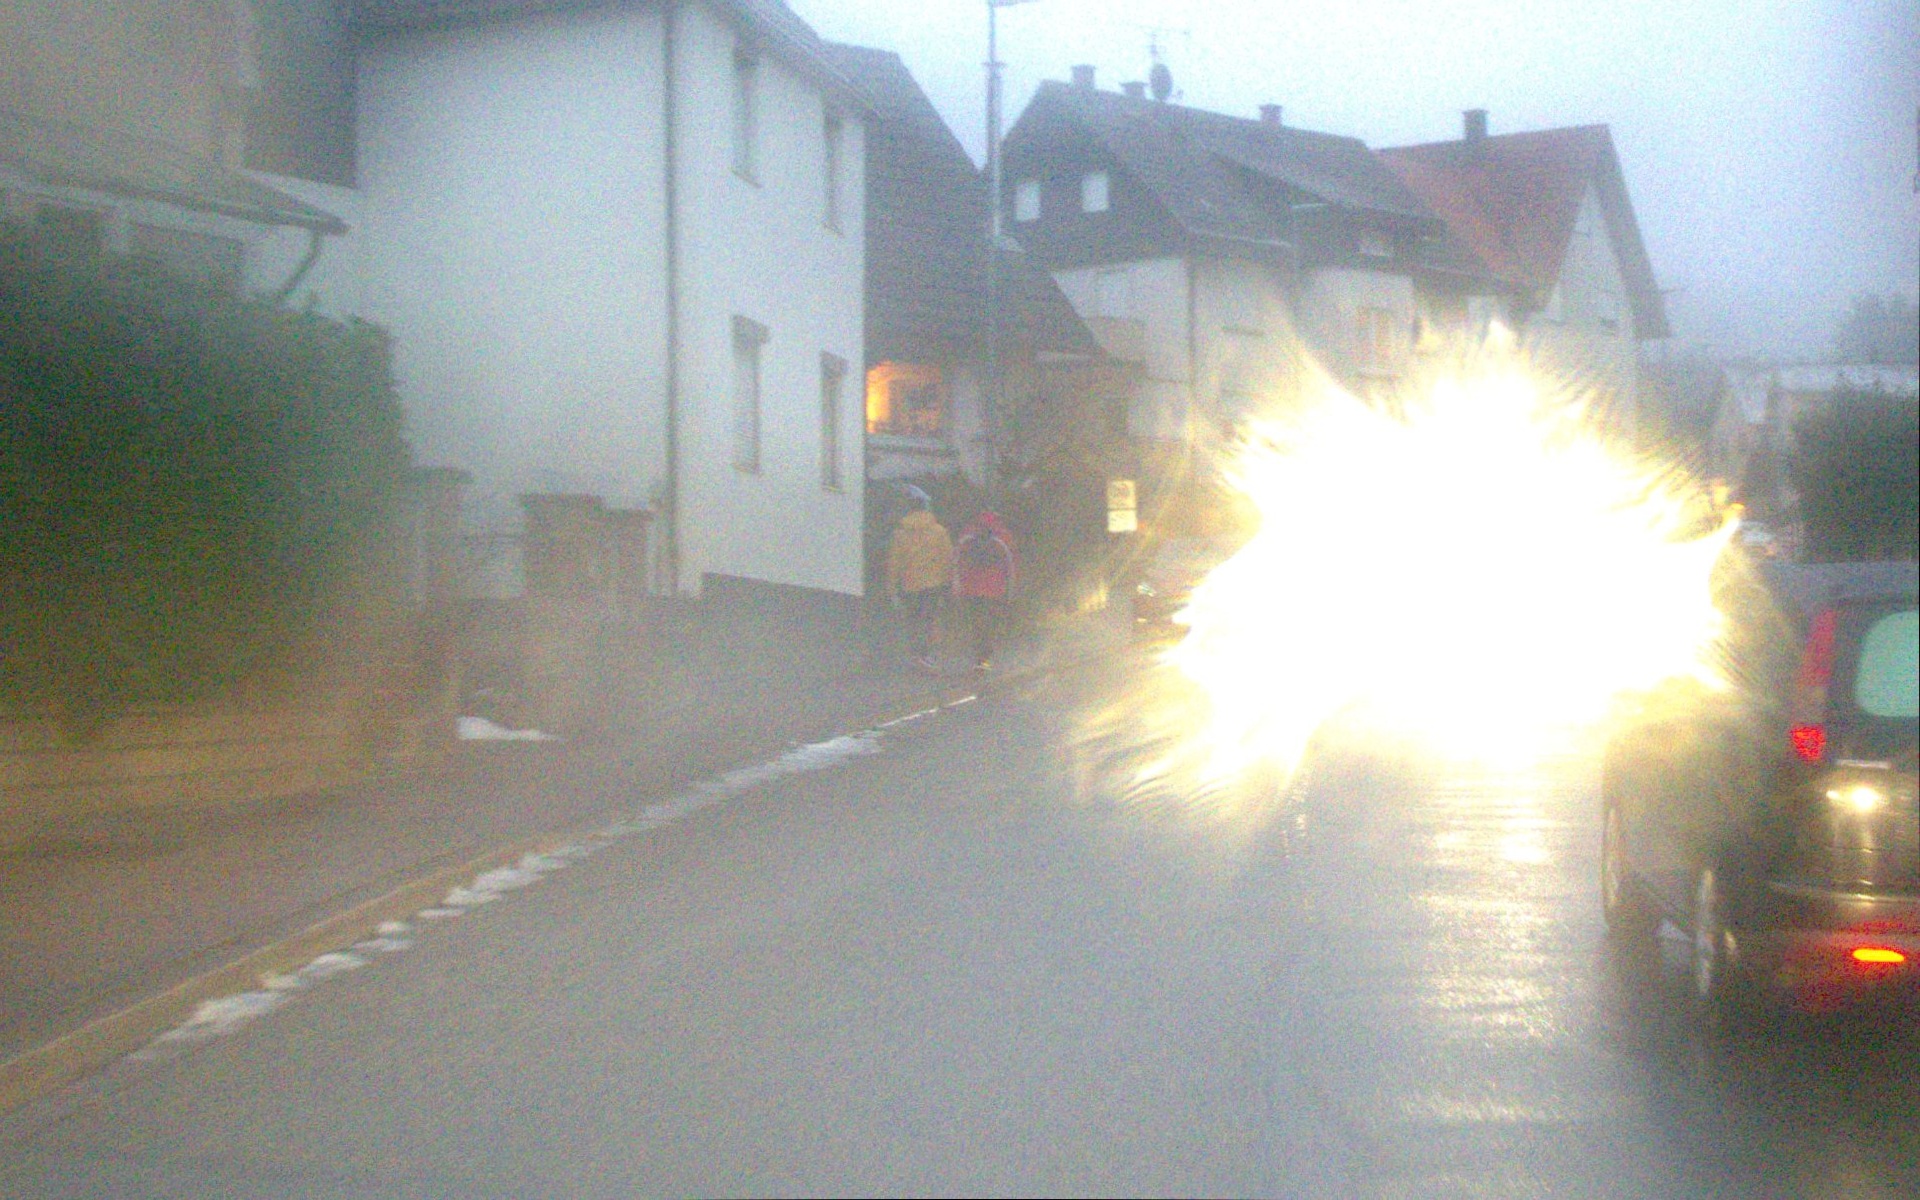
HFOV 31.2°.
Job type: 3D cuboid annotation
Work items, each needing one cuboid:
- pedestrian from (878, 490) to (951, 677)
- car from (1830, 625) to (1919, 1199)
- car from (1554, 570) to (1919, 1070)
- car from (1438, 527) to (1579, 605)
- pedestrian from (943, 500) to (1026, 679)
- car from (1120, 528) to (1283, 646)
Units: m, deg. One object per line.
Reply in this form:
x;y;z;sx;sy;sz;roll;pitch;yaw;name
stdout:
-0.459;-0.172;34.743;0.598;1.863;0.812;-1;0;8;pedestrian
2.758;0.791;5.706;1.790;1.434;4.622;-1;0;5;car
3.245;0.614;12.269;1.726;1.427;4.797;-1;0;4;car
11.488;-0.716;71.827;1.760;1.575;3.994;0;1;27;car
0.251;-0.103;34.622;0.706;1.773;0.812;-1;0;9;pedestrian
3.240;-0.202;45.476;1.824;1.435;4.066;-1;2;9;car
